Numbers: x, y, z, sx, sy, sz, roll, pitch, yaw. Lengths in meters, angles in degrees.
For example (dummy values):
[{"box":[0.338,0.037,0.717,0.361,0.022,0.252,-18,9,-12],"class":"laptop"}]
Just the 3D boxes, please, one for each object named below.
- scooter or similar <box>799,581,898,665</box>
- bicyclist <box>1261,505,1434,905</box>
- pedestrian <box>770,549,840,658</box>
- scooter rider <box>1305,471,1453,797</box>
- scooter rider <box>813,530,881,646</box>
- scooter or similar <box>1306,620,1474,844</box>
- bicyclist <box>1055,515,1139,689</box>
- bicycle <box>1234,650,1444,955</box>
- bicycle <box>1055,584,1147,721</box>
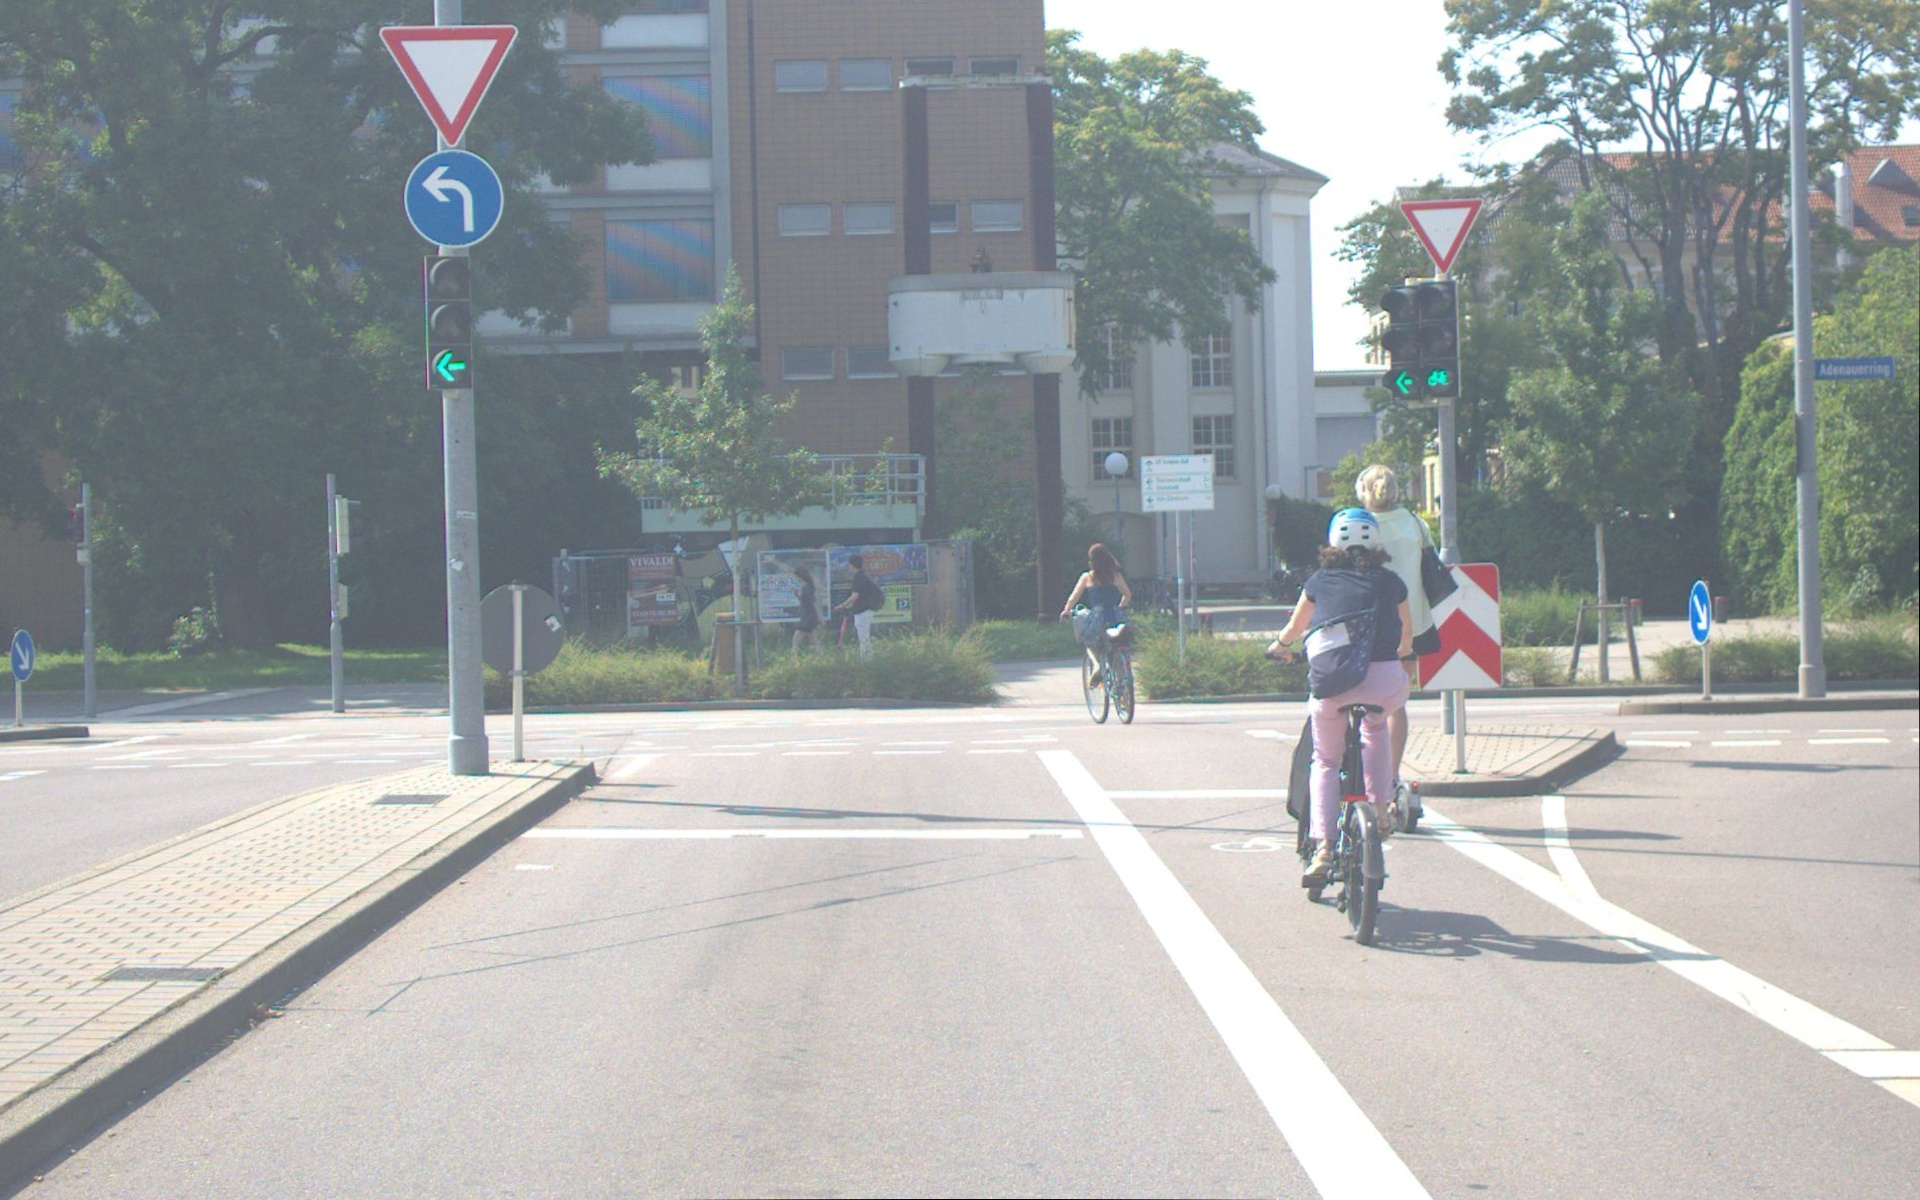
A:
[{"box":[-1.696,0.350,52.350,1.364,1.230,0.585,-1,1,17],"class":"scooter or similar"},{"box":[1.484,0.386,13.243,0.548,1.491,0.804,0,1,-2],"class":"bicyclist"},{"box":[-2.471,0.054,54.783,0.877,1.698,0.707,-1,2,16],"class":"pedestrian"},{"box":[2.227,0.173,18.313,0.670,1.694,0.539,-2,1,-1],"class":"scooter rider"},{"box":[-1.715,-0.185,52.271,0.803,1.733,0.688,-1,1,16],"class":"scooter rider"},{"box":[2.245,0.665,18.155,0.556,1.056,2.004,-2,1,-2],"class":"scooter or similar"},{"box":[1.292,0.008,32.496,0.690,1.593,0.844,-2,2,-1],"class":"bicyclist"},{"box":[1.478,0.761,13.678,0.556,1.056,2.004,0,1,-2],"class":"bicycle"},{"box":[1.311,0.471,32.383,0.693,1.151,2.371,-2,2,-1],"class":"bicycle"}]
